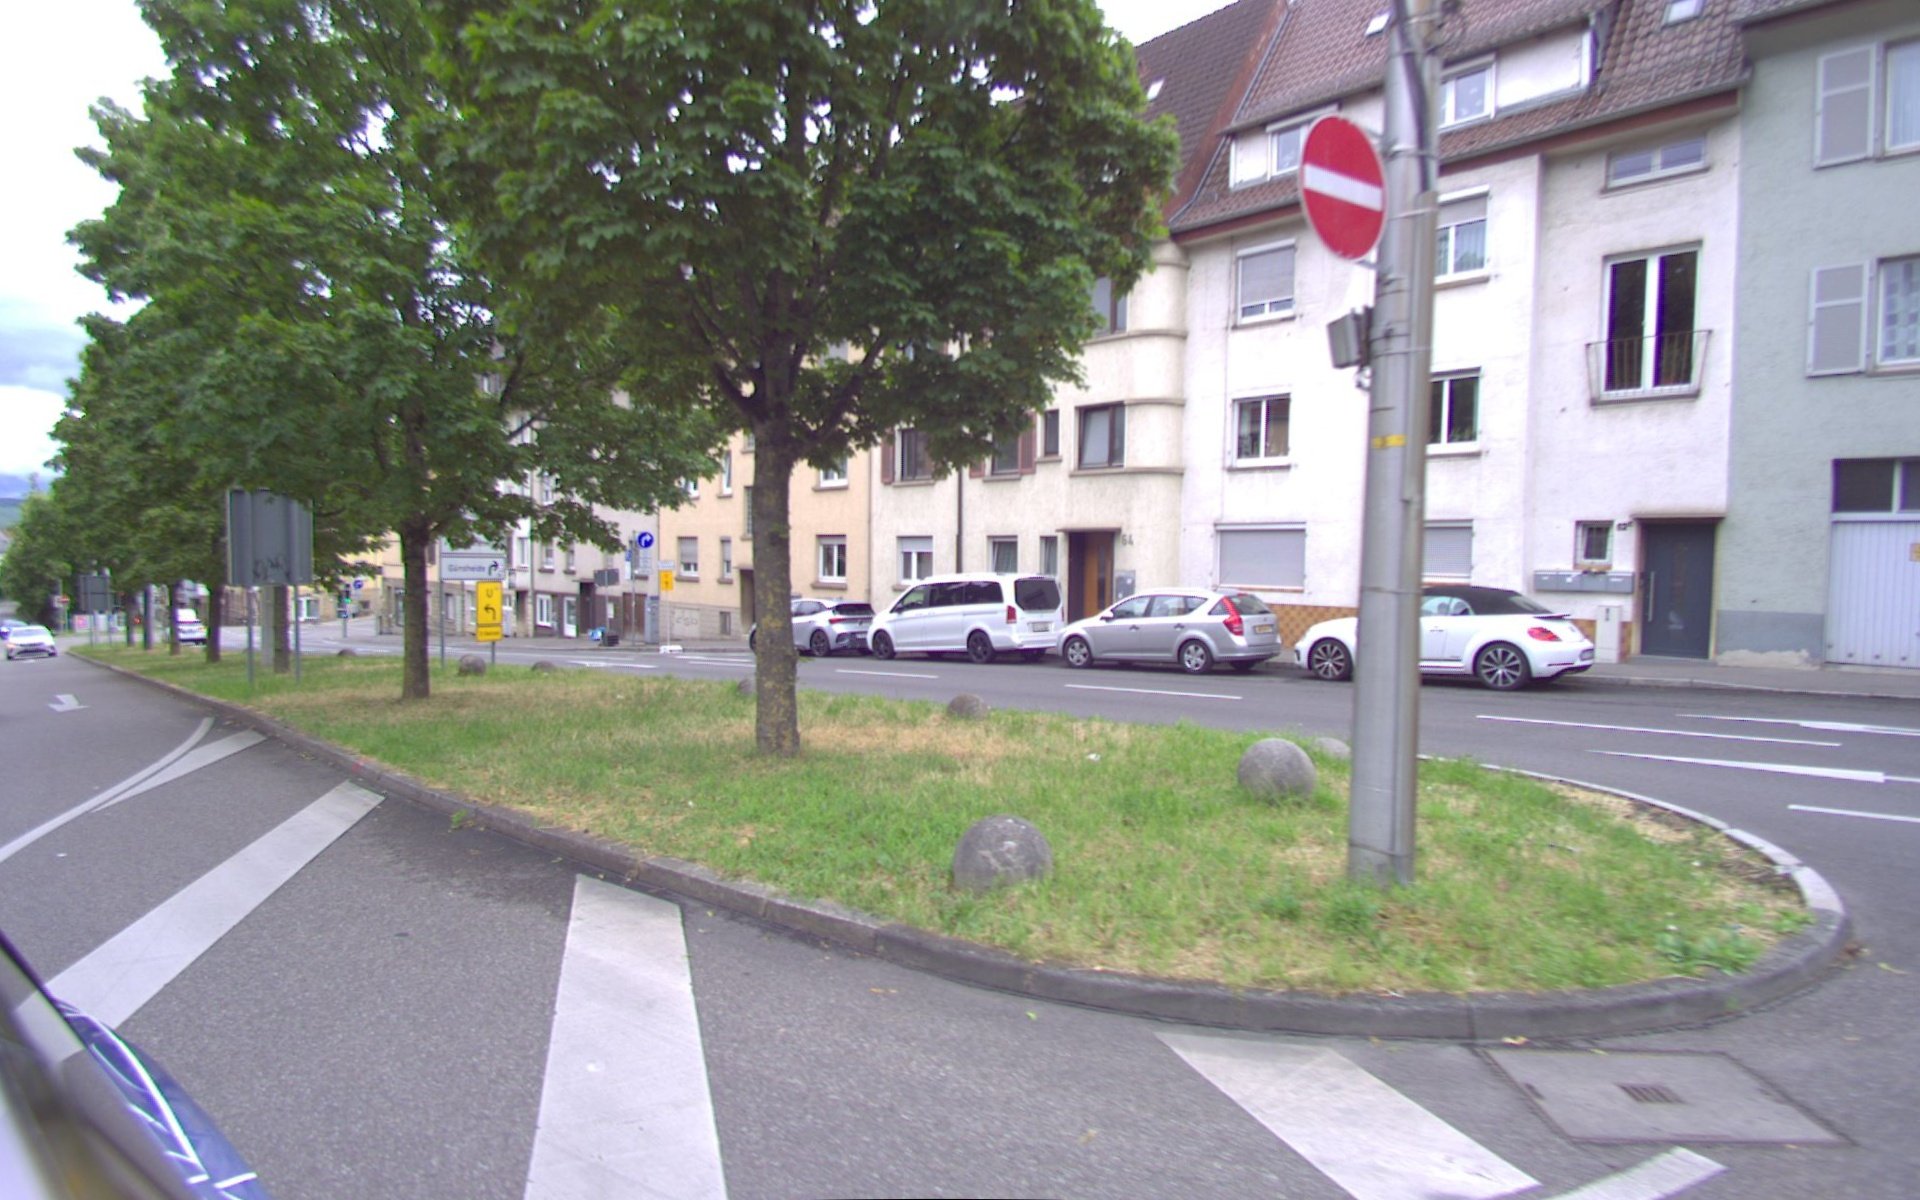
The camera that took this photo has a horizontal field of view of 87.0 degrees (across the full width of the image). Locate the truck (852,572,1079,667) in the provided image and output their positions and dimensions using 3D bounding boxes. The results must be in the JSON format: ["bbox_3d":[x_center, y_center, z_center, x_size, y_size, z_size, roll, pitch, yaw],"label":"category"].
[{"bbox_3d":[-0.013,0.411,23.068,1.971,1.934,5.350,-1,0,-45],"label":"truck"}]

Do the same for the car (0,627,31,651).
[{"bbox_3d":[-70.466,2.879,75.269,3.535,1.604,1.759,1,-1,44],"label":"car"}]

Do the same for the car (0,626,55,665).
[{"bbox_3d":[-42.485,2.039,45.974,3.535,1.604,1.759,1,-1,44],"label":"car"}]

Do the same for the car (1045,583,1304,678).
[{"bbox_3d":[3.899,0.517,18.957,1.971,1.564,4.385,-1,0,-45],"label":"car"}]

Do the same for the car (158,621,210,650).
[{"bbox_3d":[-43.023,1.933,56.079,1.725,1.478,4.589,-1,0,-44],"label":"car"}]

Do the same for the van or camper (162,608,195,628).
[{"bbox_3d":[-71.244,1.634,92.242,1.885,1.774,4.659,-2,0,-43],"label":"van or camper"}]

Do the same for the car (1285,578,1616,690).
[{"bbox_3d":[7.409,0.463,15.572,1.970,1.485,4.162,-1,0,-43],"label":"car"}]

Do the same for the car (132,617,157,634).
[{"bbox_3d":[-93.155,2.922,115.558,1.857,1.829,4.356,-2,-1,-43],"label":"car"}]

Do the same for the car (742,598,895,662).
[{"bbox_3d":[-3.858,0.763,27.229,1.971,1.564,4.161,-1,0,-45],"label":"car"}]
